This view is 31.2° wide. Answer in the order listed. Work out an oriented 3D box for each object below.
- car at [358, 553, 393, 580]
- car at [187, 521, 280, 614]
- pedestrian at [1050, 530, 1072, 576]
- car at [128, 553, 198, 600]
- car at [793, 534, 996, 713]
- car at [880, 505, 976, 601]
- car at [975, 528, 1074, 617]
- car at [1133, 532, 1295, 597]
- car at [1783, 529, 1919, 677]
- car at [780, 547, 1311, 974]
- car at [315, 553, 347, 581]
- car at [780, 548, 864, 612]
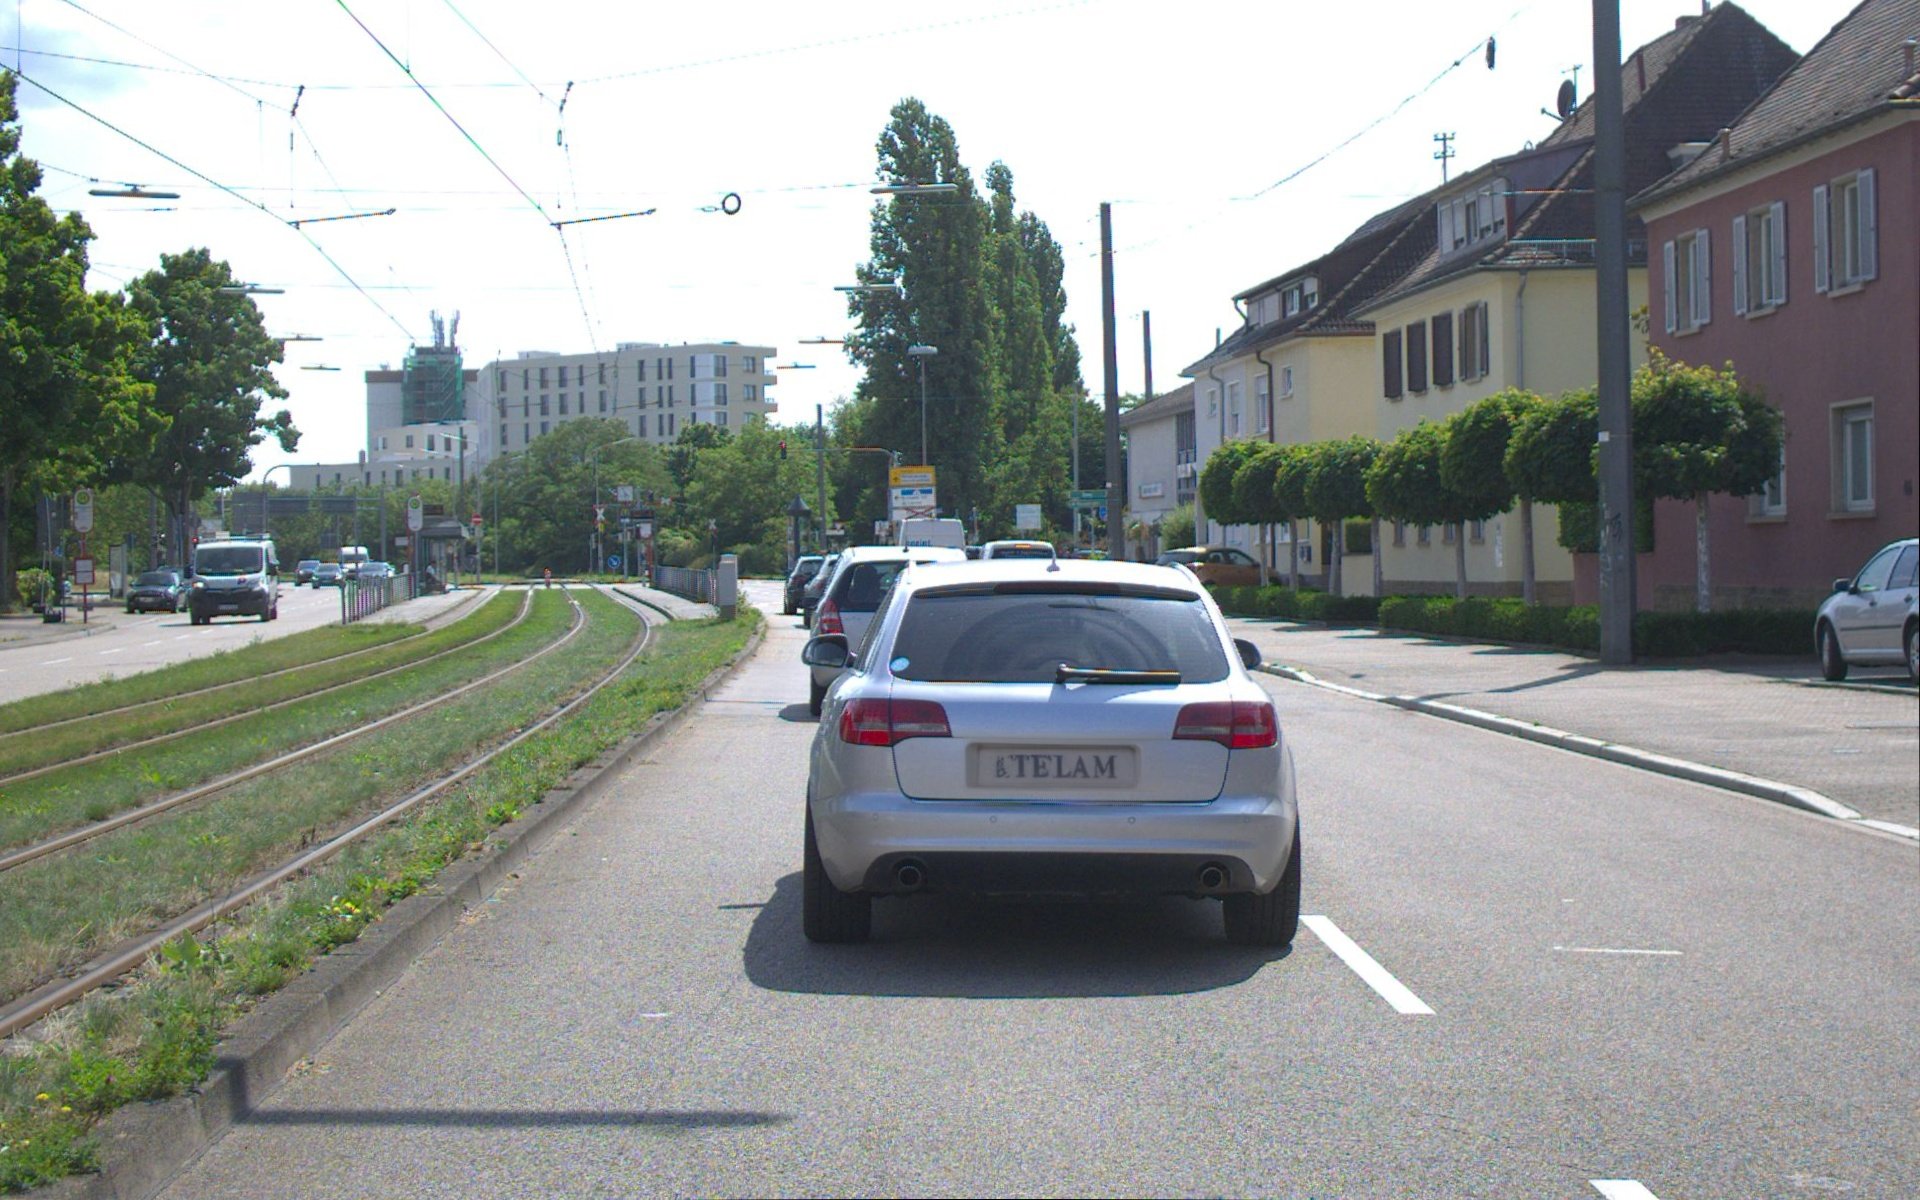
[{"bbox_3d":[-33.366,-1.897,196.147,1.896,1.536,3.730,1,0,-10],"label":"car"},{"bbox_3d":[-19.542,-0.860,92.677,2.196,2.364,5.334,-2,1,-10],"label":"car"},{"bbox_3d":[4.020,-1.878,137.349,0.721,1.776,0.703,-3,1,-4],"label":"pedestrian"},{"bbox_3d":[-27.477,-0.829,118.637,1.786,1.578,3.931,-1,1,-5],"label":"car"},{"bbox_3d":[-0.624,0.182,33.052,1.787,1.571,4.095,1,1,-1],"label":"car"},{"bbox_3d":[-0.922,-1.298,94.748,2.040,2.549,5.232,-1,1,-7],"label":"car"},{"bbox_3d":[1.342,-0.579,70.370,1.885,1.725,4.094,-1,1,3],"label":"car"},{"bbox_3d":[6.444,-0.914,86.901,1.914,1.453,4.083,1,3,44],"label":"car"},{"bbox_3d":[9.753,-0.004,34.274,1.648,1.404,4.351,-1,1,-6],"label":"car"},{"bbox_3d":[0.354,0.525,14.285,1.854,1.487,4.536,0,1,1],"label":"car"},{"bbox_3d":[-37.896,-1.962,206.931,1.862,1.645,4.001,1,0,-11],"label":"car"},{"bbox_3d":[-3.386,-0.498,84.973,1.885,1.525,4.094,1,0,0],"label":"car"}]
